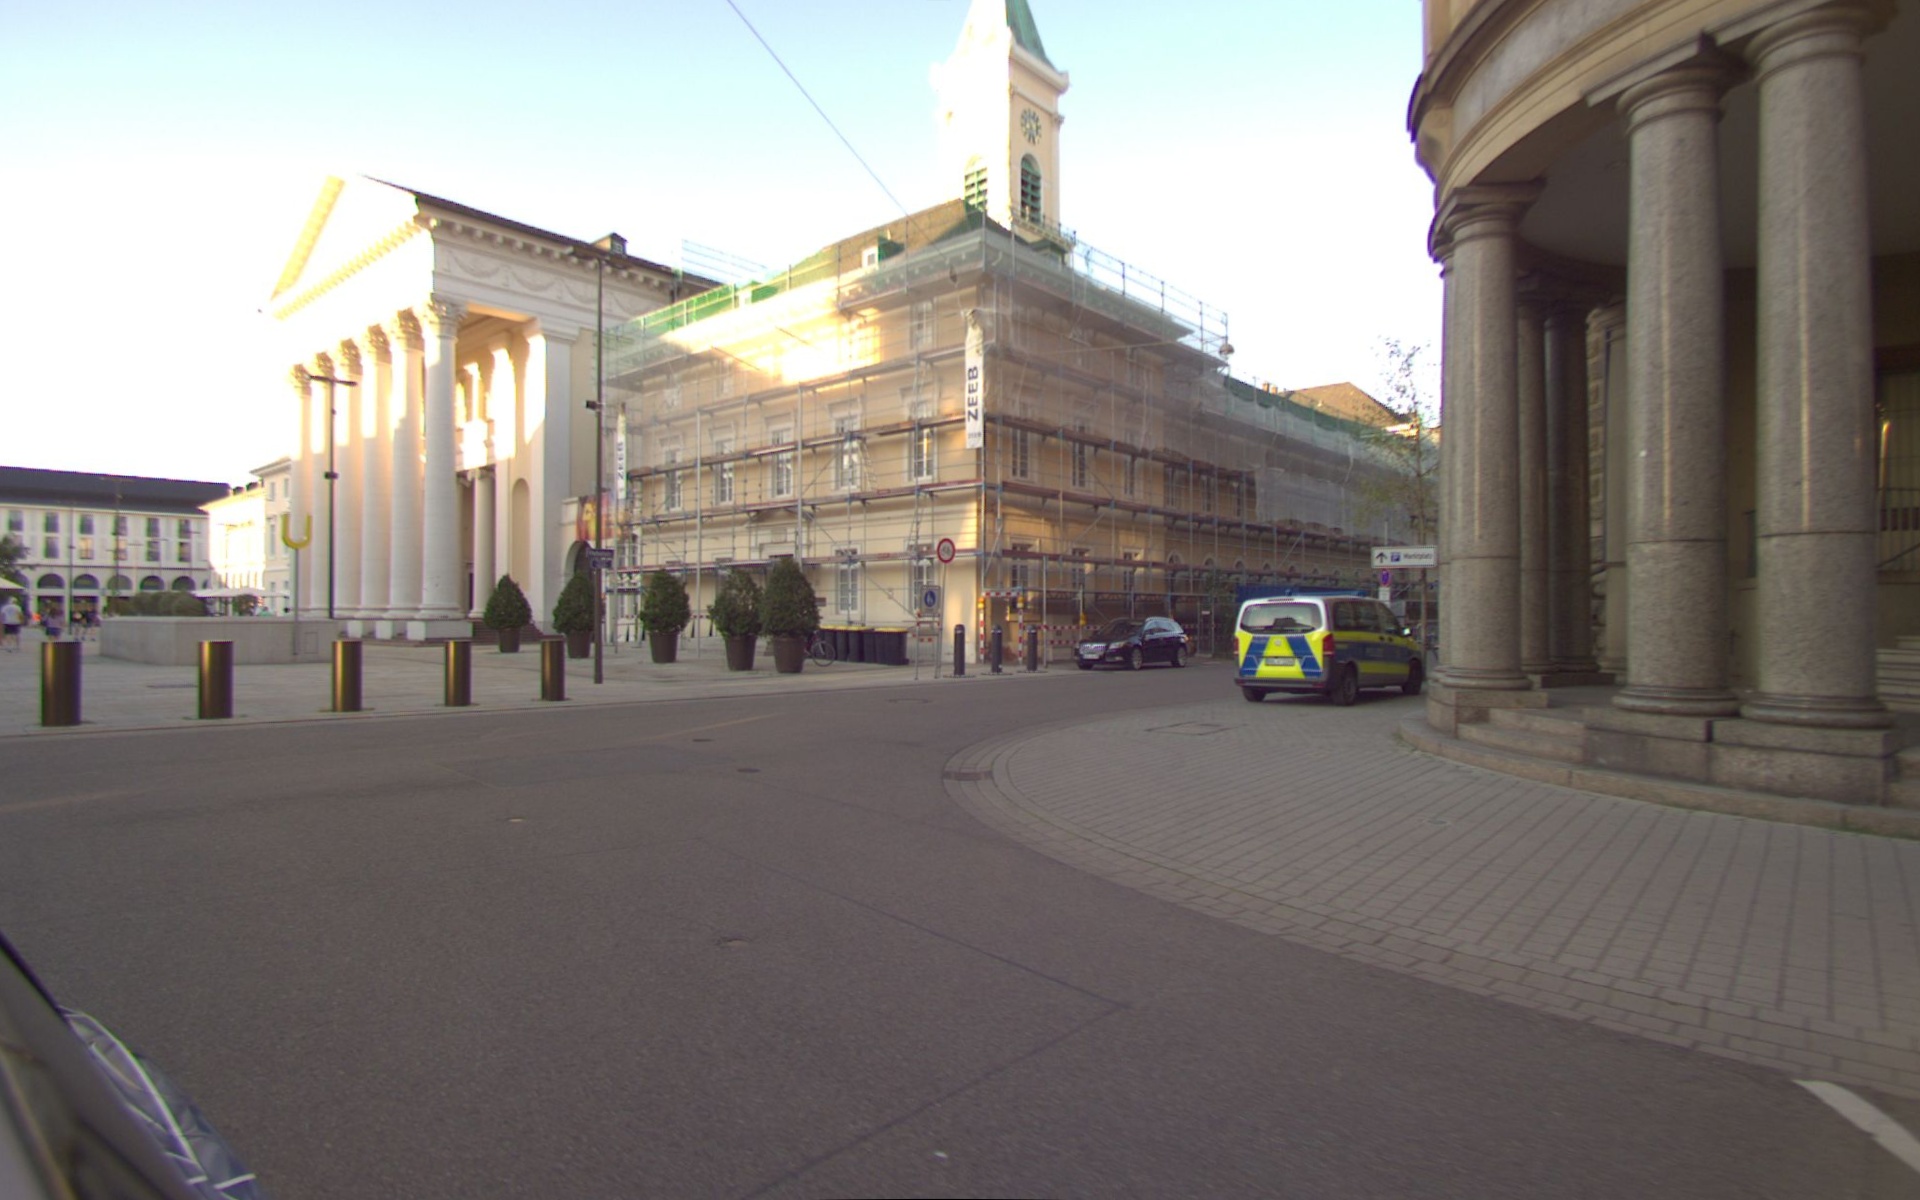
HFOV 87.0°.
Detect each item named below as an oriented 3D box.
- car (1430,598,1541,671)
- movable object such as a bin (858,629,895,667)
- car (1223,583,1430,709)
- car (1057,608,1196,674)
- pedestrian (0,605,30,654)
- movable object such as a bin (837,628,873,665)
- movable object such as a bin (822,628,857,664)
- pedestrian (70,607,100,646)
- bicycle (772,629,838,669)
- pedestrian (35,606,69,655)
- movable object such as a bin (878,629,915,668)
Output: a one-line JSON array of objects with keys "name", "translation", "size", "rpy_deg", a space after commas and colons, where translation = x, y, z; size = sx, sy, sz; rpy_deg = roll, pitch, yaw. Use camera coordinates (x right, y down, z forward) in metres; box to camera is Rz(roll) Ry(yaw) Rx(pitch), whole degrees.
[{"name": "car", "translation": [15.685, 0.979, 30.125], "size": [2.000, 2.029, 3.944], "rpy_deg": [-1, -1, 42]}, {"name": "movable object such as a bin", "translation": [-2.473, 1.398, 29.929], "size": [0.722, 1.085, 0.800], "rpy_deg": [-1, -1, 44]}, {"name": "car", "translation": [6.717, 0.776, 18.387], "size": [3.940, 2.029, 2.001], "rpy_deg": [1, -2, -44]}, {"name": "car", "translation": [4.810, 1.121, 29.029], "size": [3.940, 1.749, 2.001], "rpy_deg": [1, -1, -44]}, {"name": "pedestrian", "translation": [-33.886, 1.052, 36.230], "size": [0.881, 1.743, 0.844], "rpy_deg": [-1, -1, 45]}, {"name": "movable object such as a bin", "translation": [-3.155, 1.394, 30.477], "size": [0.722, 1.085, 0.800], "rpy_deg": [-1, -1, 44]}, {"name": "movable object such as a bin", "translation": [-3.688, 1.395, 31.035], "size": [0.722, 1.085, 0.800], "rpy_deg": [-1, -1, 44]}, {"name": "pedestrian", "translation": [-44.163, 1.343, 51.080], "size": [0.881, 1.926, 1.076], "rpy_deg": [-1, -1, 45]}, {"name": "bicycle", "translation": [-4.514, 1.406, 29.472], "size": [1.841, 1.120, 0.629], "rpy_deg": [0, -1, 24]}, {"name": "pedestrian", "translation": [-32.889, 1.084, 36.653], "size": [0.881, 1.743, 0.844], "rpy_deg": [-1, -1, 45]}, {"name": "movable object such as a bin", "translation": [-1.828, 1.392, 29.289], "size": [0.722, 1.085, 0.800], "rpy_deg": [-1, -1, 44]}]
